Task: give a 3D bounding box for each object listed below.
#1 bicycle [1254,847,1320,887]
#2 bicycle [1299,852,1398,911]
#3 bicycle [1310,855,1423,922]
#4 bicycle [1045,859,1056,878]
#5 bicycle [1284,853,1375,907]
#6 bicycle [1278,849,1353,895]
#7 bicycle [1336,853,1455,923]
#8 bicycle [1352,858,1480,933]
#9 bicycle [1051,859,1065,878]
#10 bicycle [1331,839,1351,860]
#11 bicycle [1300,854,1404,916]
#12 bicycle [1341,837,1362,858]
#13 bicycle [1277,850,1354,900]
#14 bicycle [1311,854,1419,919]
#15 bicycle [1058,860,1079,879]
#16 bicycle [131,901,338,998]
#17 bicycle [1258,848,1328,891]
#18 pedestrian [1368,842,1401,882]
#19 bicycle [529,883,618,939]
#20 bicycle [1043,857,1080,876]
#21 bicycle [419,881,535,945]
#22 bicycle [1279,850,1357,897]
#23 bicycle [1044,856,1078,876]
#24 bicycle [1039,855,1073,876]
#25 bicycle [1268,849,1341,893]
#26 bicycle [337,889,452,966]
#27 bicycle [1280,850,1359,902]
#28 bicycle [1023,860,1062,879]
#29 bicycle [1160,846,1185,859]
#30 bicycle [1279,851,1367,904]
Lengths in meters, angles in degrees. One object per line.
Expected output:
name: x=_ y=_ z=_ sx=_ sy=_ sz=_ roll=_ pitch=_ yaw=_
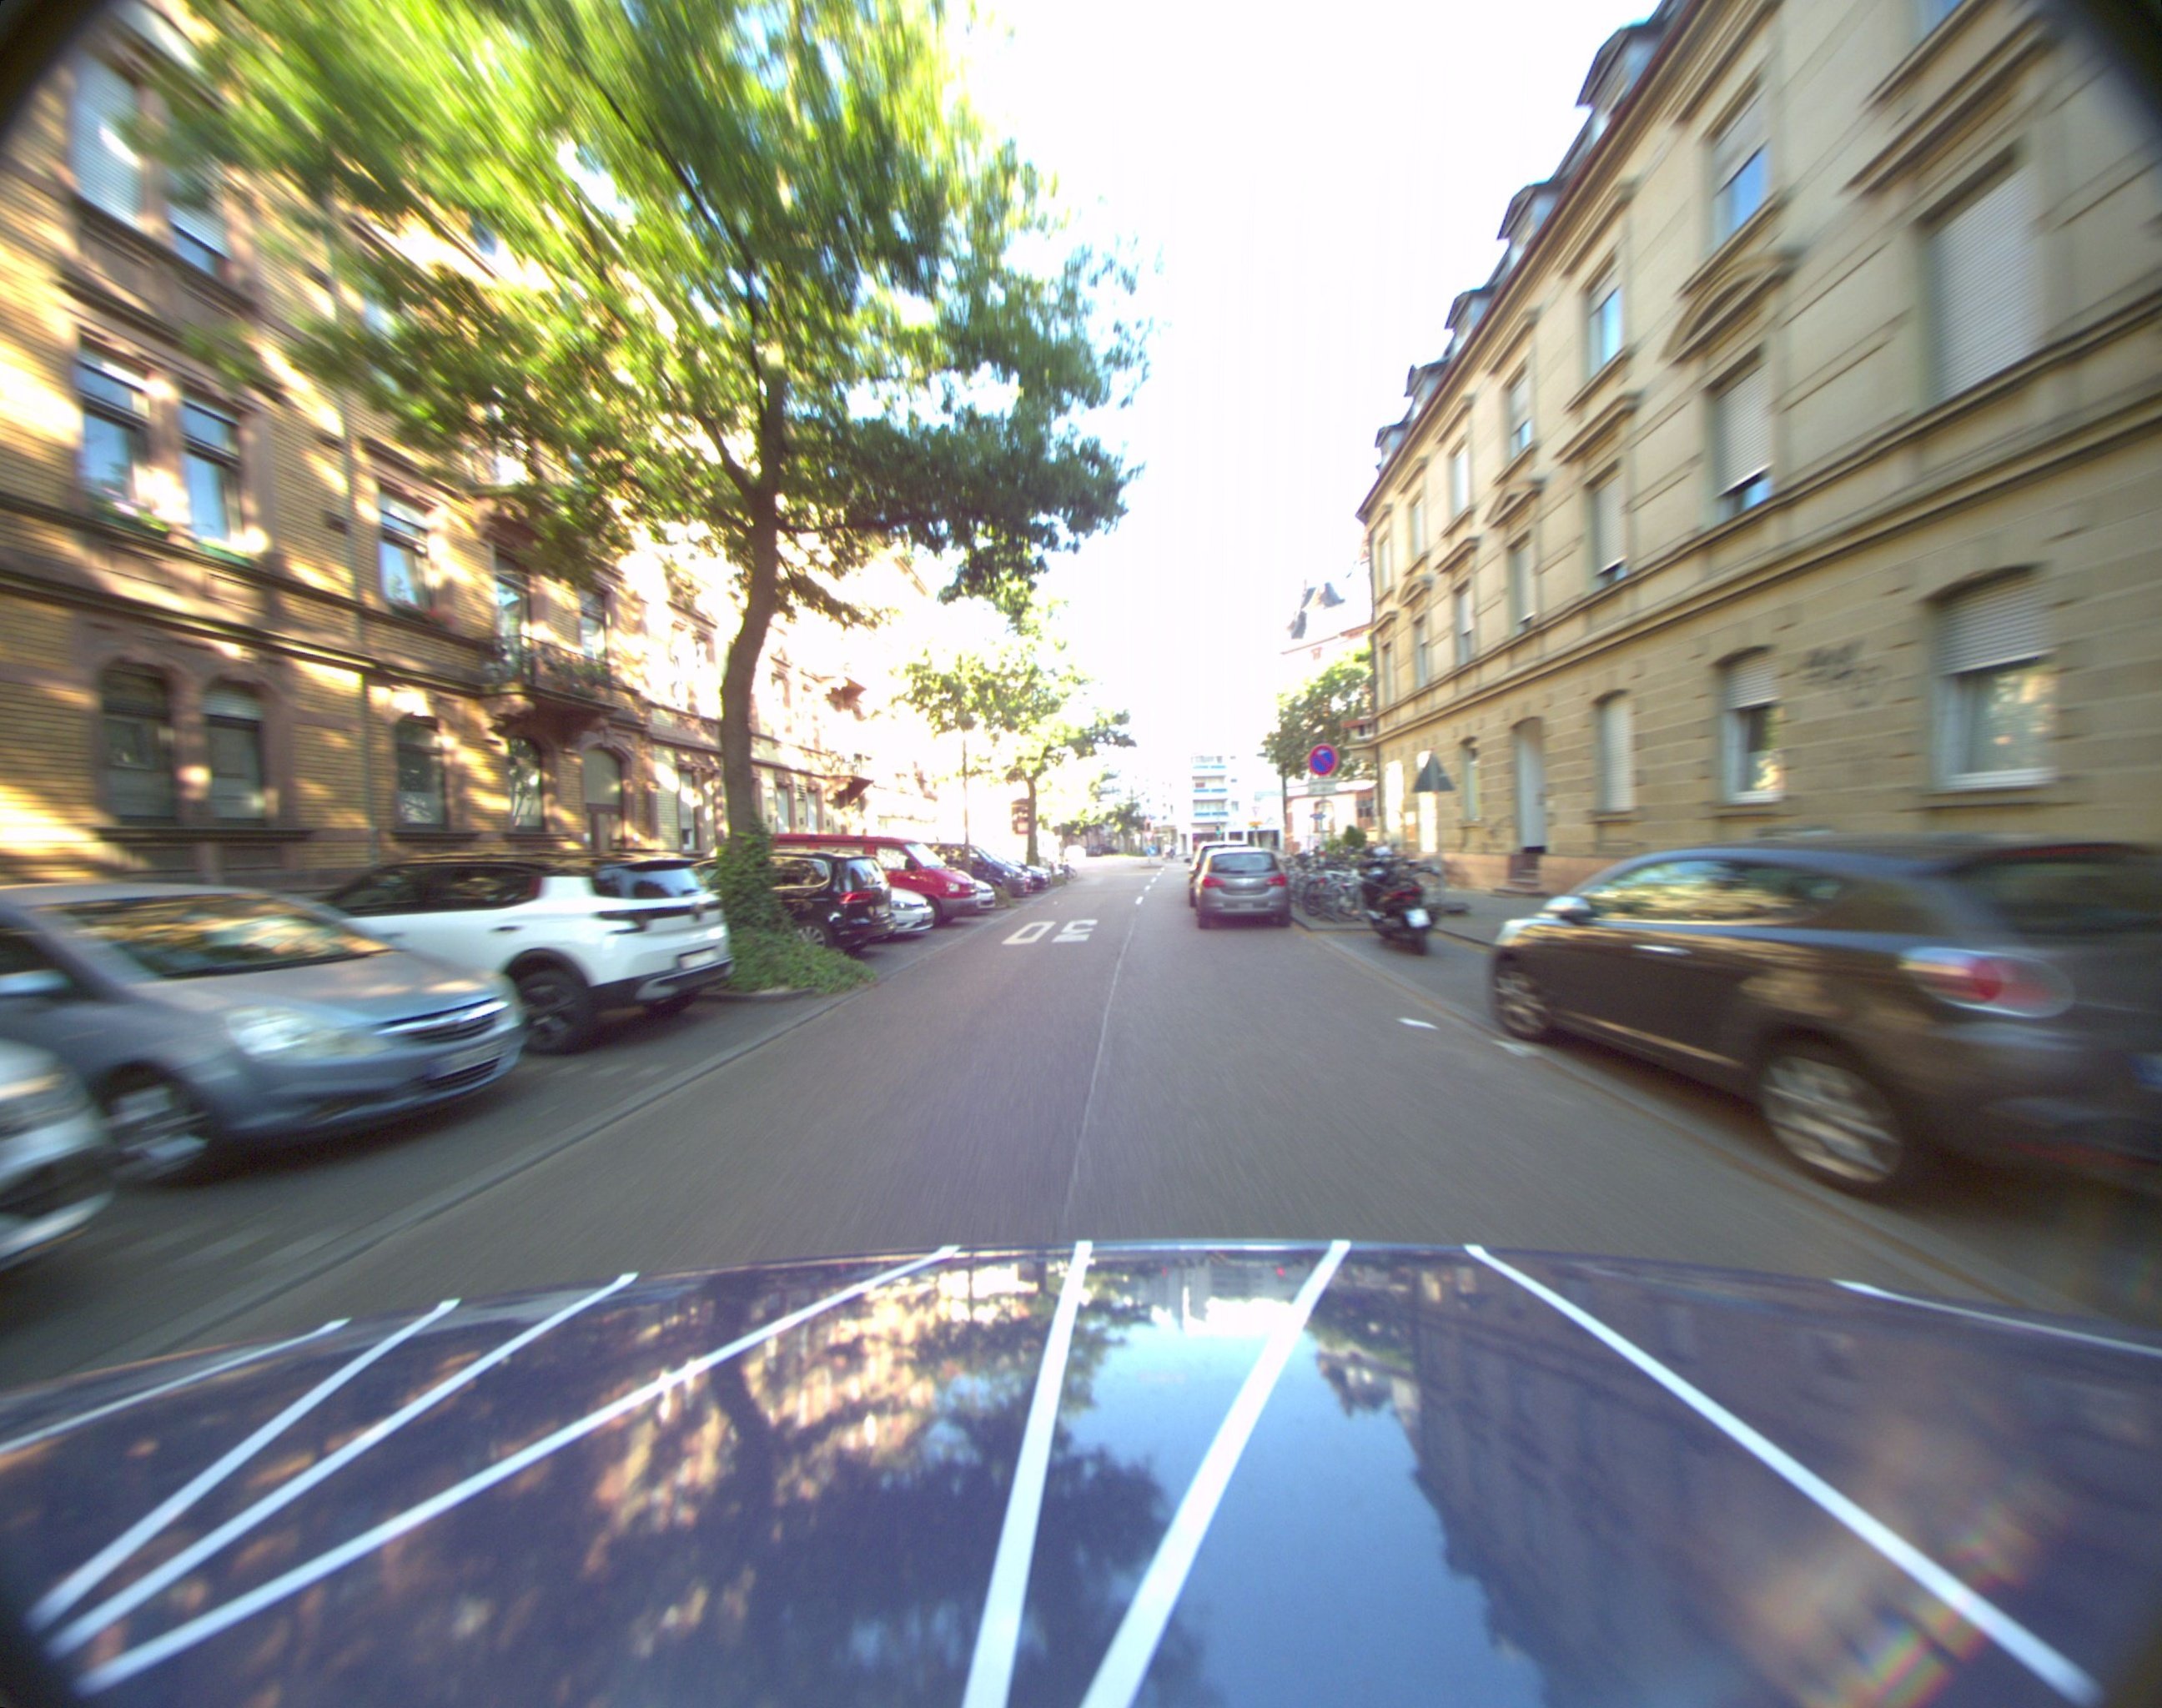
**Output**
bicycle: x=6.393 y=0.406 z=23.646 sx=1.871 sy=1.122 sz=0.528 roll=-4 pitch=2 yaw=7
bicycle: x=5.715 y=0.585 z=16.294 sx=1.871 sy=1.122 sz=0.528 roll=-4 pitch=2 yaw=5
bicycle: x=5.363 y=0.650 z=14.359 sx=1.871 sy=1.122 sz=0.528 roll=-4 pitch=2 yaw=5
bicycle: x=-1.580 y=0.747 z=39.841 sx=0.354 sy=0.922 sz=1.525 roll=0 pitch=2 yaw=6
bicycle: x=5.750 y=0.594 z=17.634 sx=1.871 sy=1.122 sz=0.528 roll=-4 pitch=2 yaw=5
bicycle: x=6.506 y=0.492 z=21.134 sx=1.871 sy=1.122 sz=0.528 roll=-4 pitch=2 yaw=7
bicycle: x=5.677 y=0.612 z=13.791 sx=1.871 sy=1.122 sz=0.528 roll=-4 pitch=2 yaw=5
bicycle: x=5.674 y=0.705 z=12.927 sx=1.871 sy=1.122 sz=0.528 roll=-4 pitch=2 yaw=5
bicycle: x=-1.196 y=0.736 z=39.682 sx=0.354 sy=0.922 sz=1.526 roll=0 pitch=2 yaw=12
bicycle: x=15.273 y=-0.285 z=44.688 sx=0.547 sy=1.189 sz=2.960 roll=-3 pitch=1 yaw=9
bicycle: x=5.553 y=0.634 z=15.633 sx=1.871 sy=1.122 sz=0.528 roll=-4 pitch=2 yaw=5
bicycle: x=15.858 y=-0.385 z=44.601 sx=0.547 sy=1.189 sz=2.960 roll=-3 pitch=1 yaw=9
bicycle: x=6.041 y=0.521 z=19.586 sx=1.874 sy=1.122 sz=0.527 roll=-4 pitch=2 yaw=-18
bicycle: x=5.557 y=0.630 z=14.929 sx=1.871 sy=1.122 sz=0.528 roll=-4 pitch=2 yaw=5
bicycle: x=-0.636 y=0.786 z=39.268 sx=0.353 sy=0.922 sz=1.416 roll=1 pitch=2 yaw=35
bicycle: x=-10.531 y=1.142 z=9.567 sx=0.405 sy=0.957 sz=1.868 roll=1 pitch=1 yaw=5
bicycle: x=6.242 y=0.452 z=22.464 sx=1.871 sy=1.122 sz=0.528 roll=-4 pitch=2 yaw=7
pedestrian: x=9.501 y=0.235 z=23.821 sx=0.727 sy=1.207 sz=0.757 roll=-3 pitch=1 yaw=2
bicycle: x=-10.133 y=1.114 z=15.263 sx=0.405 sy=0.957 sz=1.868 roll=1 pitch=1 yaw=5
bicycle: x=-1.059 y=0.680 z=41.077 sx=1.938 sy=0.982 sz=0.496 roll=-1 pitch=2 yaw=-17
bicycle: x=-10.518 y=0.993 z=13.316 sx=0.405 sy=0.957 sz=1.868 roll=1 pitch=1 yaw=5
bicycle: x=6.367 y=0.523 z=20.468 sx=1.871 sy=1.122 sz=0.528 roll=-4 pitch=2 yaw=7
bicycle: x=-1.103 y=0.674 z=42.016 sx=1.940 sy=1.046 sz=0.501 roll=-1 pitch=2 yaw=-32
bicycle: x=-1.376 y=0.645 z=42.419 sx=1.940 sy=1.087 sz=0.424 roll=-1 pitch=2 yaw=-32
bicycle: x=6.387 y=0.471 z=21.775 sx=1.871 sy=1.122 sz=0.528 roll=-4 pitch=2 yaw=7
bicycle: x=-10.243 y=1.057 z=11.417 sx=0.406 sy=0.957 sz=1.865 roll=0 pitch=1 yaw=-13
bicycle: x=5.957 y=0.529 z=18.982 sx=1.874 sy=1.122 sz=0.527 roll=-4 pitch=2 yaw=-18
bicycle: x=-1.926 y=0.789 z=38.436 sx=1.934 sy=0.922 sz=0.354 roll=0 pitch=2 yaw=4
bicycle: x=7.286 y=-0.125 z=60.278 sx=1.881 sy=0.907 sz=0.633 roll=-5 pitch=1 yaw=-25
bicycle: x=5.802 y=0.566 z=18.277 sx=1.871 sy=1.122 sz=0.528 roll=-4 pitch=2 yaw=5
